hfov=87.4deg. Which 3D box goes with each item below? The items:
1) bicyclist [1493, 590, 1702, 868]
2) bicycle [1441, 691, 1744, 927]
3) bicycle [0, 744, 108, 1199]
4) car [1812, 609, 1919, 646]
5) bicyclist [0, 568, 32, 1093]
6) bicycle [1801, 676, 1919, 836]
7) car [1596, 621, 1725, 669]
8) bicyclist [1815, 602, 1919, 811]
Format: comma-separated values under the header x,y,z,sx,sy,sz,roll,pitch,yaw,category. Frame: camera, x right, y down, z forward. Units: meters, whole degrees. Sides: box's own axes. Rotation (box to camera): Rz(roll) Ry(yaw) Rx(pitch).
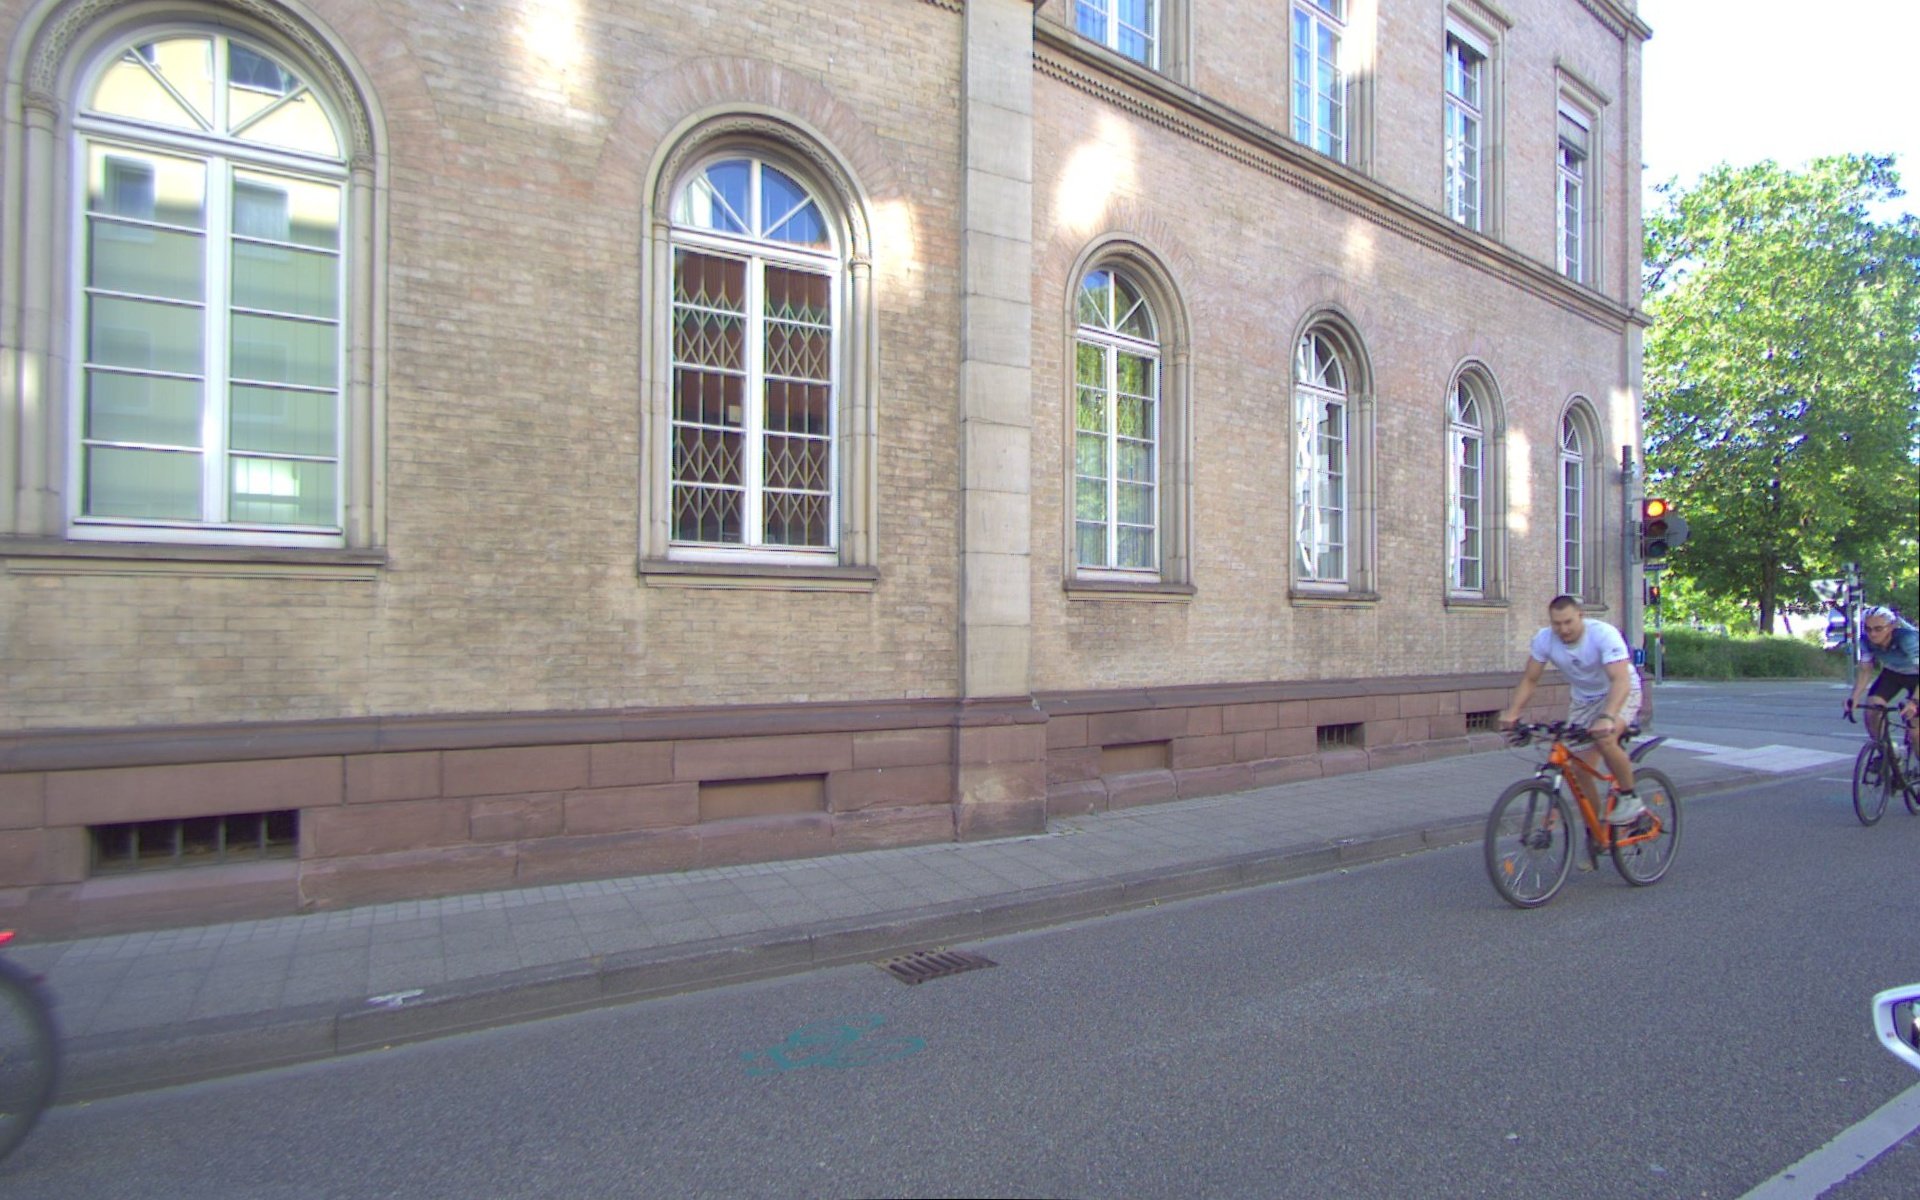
x,y,z,sx,sy,sz,roll,pitch,yaw,category
3.856,0.730,6.097,0.906,1.543,0.700,1,-1,-26,bicyclist
3.850,1.182,6.082,1.944,1.167,0.623,1,-1,-26,bicycle
-3.454,1.030,2.495,1.947,1.167,0.587,1,-1,-31,bicycle
53.496,1.610,59.386,1.983,2.040,4.409,2,0,-38,car
-3.247,0.672,2.634,1.066,1.547,0.587,1,-1,-31,bicyclist
7.868,1.261,8.504,1.764,1.167,0.622,1,-1,-32,bicycle
24.374,1.523,35.026,1.636,1.476,3.382,2,0,-39,car
7.736,0.851,8.427,0.817,1.650,0.622,1,-1,-32,bicyclist
